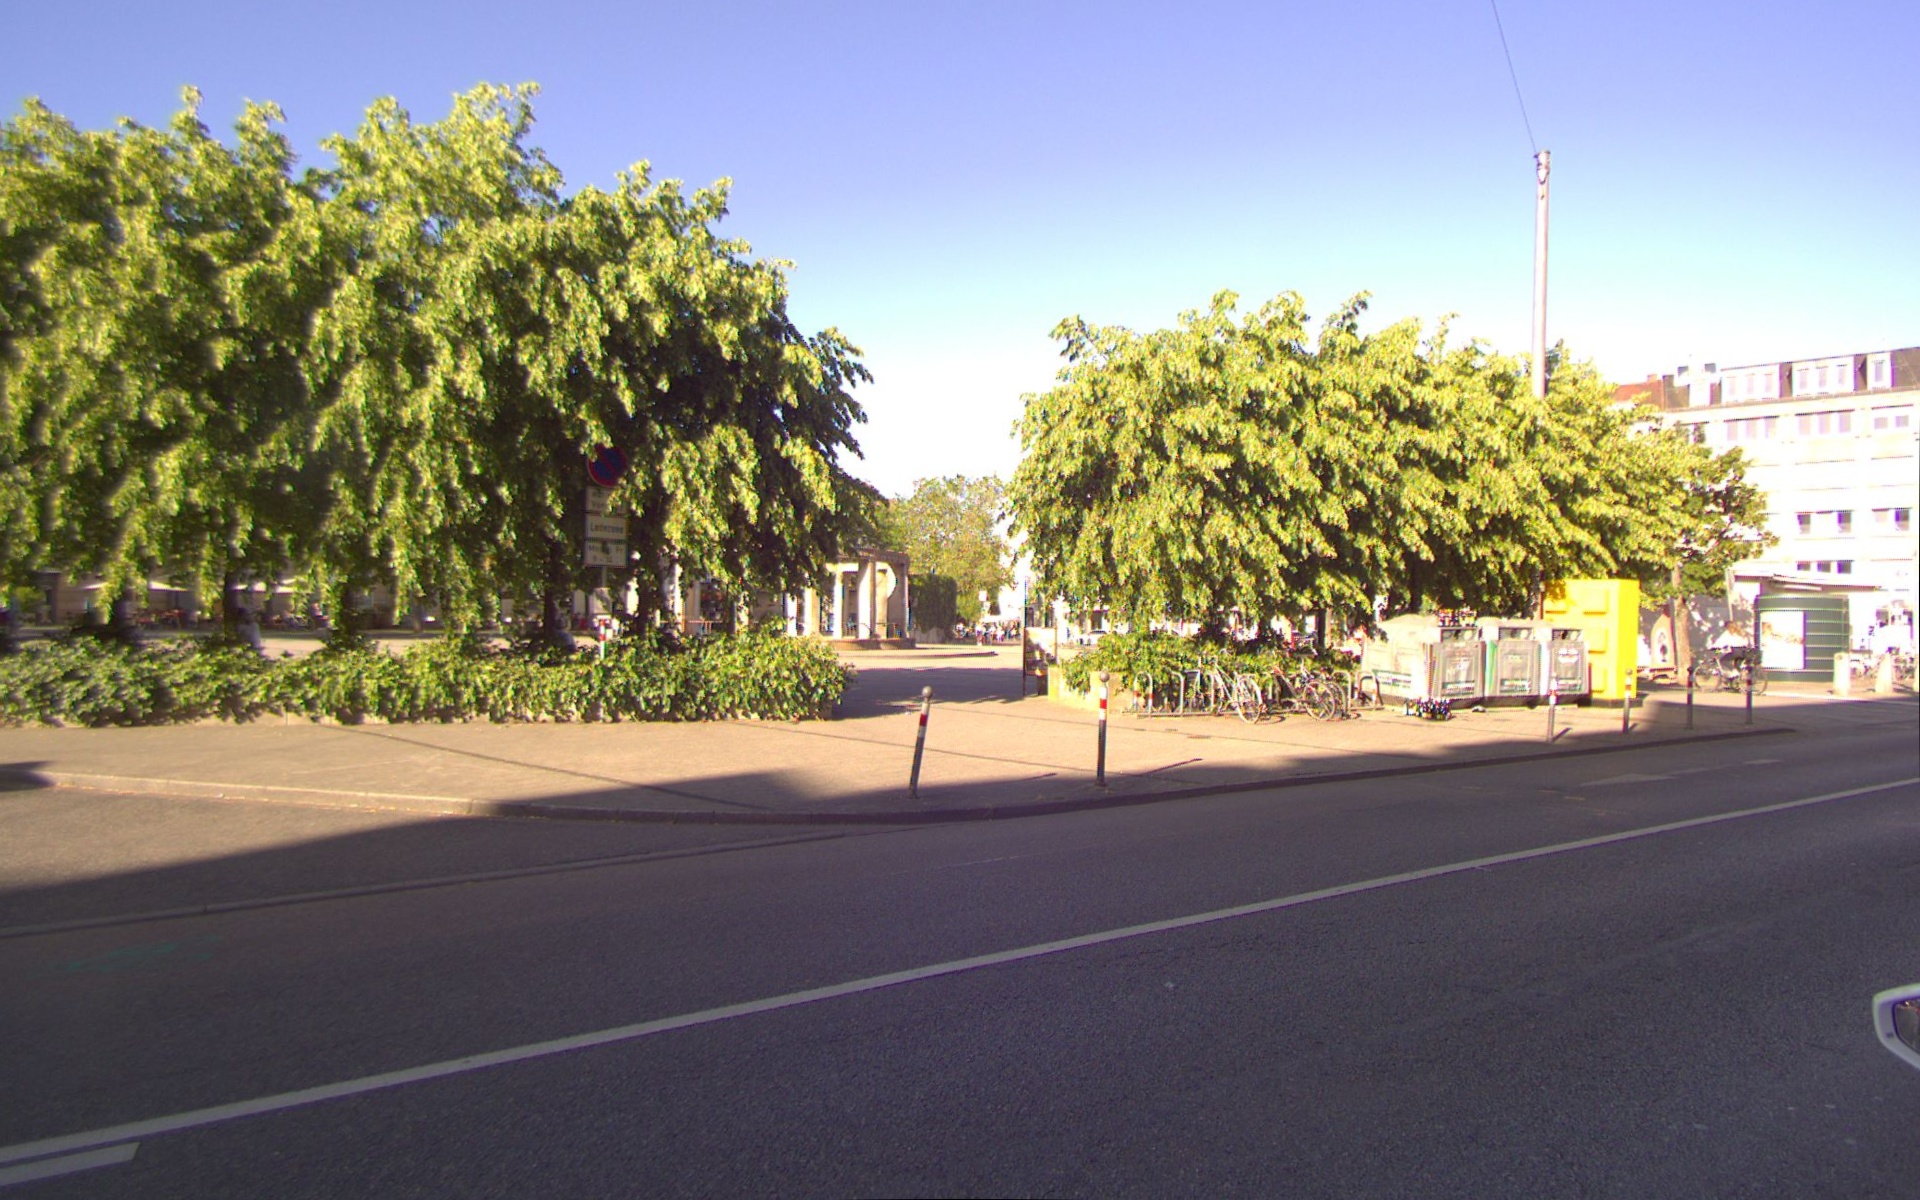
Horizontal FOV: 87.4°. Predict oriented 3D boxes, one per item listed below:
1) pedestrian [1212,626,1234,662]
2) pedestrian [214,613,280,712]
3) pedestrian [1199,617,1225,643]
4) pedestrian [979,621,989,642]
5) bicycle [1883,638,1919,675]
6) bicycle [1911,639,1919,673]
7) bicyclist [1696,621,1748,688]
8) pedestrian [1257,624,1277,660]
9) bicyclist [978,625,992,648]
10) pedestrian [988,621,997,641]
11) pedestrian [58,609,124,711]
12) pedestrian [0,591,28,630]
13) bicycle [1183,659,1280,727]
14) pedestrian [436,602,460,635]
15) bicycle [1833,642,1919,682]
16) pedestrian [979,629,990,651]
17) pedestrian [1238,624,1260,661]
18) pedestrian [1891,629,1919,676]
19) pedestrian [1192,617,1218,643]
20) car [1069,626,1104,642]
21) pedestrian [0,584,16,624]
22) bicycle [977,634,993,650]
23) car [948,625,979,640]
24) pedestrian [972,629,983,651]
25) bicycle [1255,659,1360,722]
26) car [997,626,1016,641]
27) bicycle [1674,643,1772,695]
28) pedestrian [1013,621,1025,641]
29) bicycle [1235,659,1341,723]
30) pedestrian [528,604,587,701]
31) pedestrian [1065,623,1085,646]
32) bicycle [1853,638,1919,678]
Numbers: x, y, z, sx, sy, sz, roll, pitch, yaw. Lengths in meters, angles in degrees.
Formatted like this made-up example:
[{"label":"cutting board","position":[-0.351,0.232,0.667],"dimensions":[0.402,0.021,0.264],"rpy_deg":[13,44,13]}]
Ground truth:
[{"label":"pedestrian","position":[11.848,1.974,45.161],"dimensions":[0.904,1.541,0.936],"rpy_deg":[2,0,15]},{"label":"pedestrian","position":[-10.857,0.936,15.301],"dimensions":[0.581,1.456,0.615],"rpy_deg":[2,0,33]},{"label":"pedestrian","position":[12.262,1.452,48.869],"dimensions":[0.885,1.230,0.864],"rpy_deg":[2,0,-15]},{"label":"pedestrian","position":[2.405,3.222,102.059],"dimensions":[0.836,2.040,0.855],"rpy_deg":[2,0,10]},{"label":"bicycle","position":[35.255,2.086,36.132],"dimensions":[0.932,1.287,2.859],"rpy_deg":[2,0,-32]},{"label":"bicycle","position":[37.239,2.157,37.276],"dimensions":[0.932,1.276,2.648],"rpy_deg":[2,0,-32]},{"label":"bicyclist","position":[19.277,1.367,25.419],"dimensions":[0.571,1.636,0.824],"rpy_deg":[1,0,-22]},{"label":"pedestrian","position":[13.449,1.844,44.069],"dimensions":[0.598,1.528,0.557],"rpy_deg":[2,0,-15]},{"label":"bicyclist","position":[1.910,2.737,75.989],"dimensions":[0.776,1.722,0.892],"rpy_deg":[2,0,-19]},{"label":"pedestrian","position":[3.442,3.271,105.755],"dimensions":[0.836,2.040,0.855],"rpy_deg":[2,0,10]},{"label":"pedestrian","position":[-12.865,0.873,14.884],"dimensions":[0.615,1.456,0.647],"rpy_deg":[2,0,-32]},{"label":"pedestrian","position":[-38.206,0.421,40.442],"dimensions":[0.680,1.550,0.684],"rpy_deg":[2,0,1]},{"label":"bicycle","position":[4.168,1.412,15.526],"dimensions":[0.464,0.897,1.558],"rpy_deg":[2,0,-29]},{"label":"pedestrian","position":[-24.322,0.886,47.696],"dimensions":[0.679,1.550,0.741],"rpy_deg":[2,0,12]},{"label":"bicycle","position":[31.214,2.066,33.764],"dimensions":[0.932,1.211,2.645],"rpy_deg":[2,0,-32]},{"label":"pedestrian","position":[1.791,2.939,73.756],"dimensions":[0.571,1.544,0.622],"rpy_deg":[2,0,-25]},{"label":"pedestrian","position":[12.733,1.865,44.238],"dimensions":[0.761,1.541,0.838],"rpy_deg":[2,0,6]},{"label":"pedestrian","position":[34.258,1.895,35.966],"dimensions":[1.089,1.633,1.250],"rpy_deg":[2,0,-44]},{"label":"pedestrian","position":[11.702,1.431,47.940],"dimensions":[0.855,1.230,0.933],"rpy_deg":[2,0,-15]},{"label":"car","position":[10.895,2.899,86.720],"dimensions":[2.711,1.283,1.239],"rpy_deg":[2,0,37]},{"label":"pedestrian","position":[-37.919,0.152,39.620],"dimensions":[0.680,1.545,0.684],"rpy_deg":[2,0,0]},{"label":"bicycle","position":[1.878,3.203,76.081],"dimensions":[0.595,1.116,1.982],"rpy_deg":[2,0,-16]},{"label":"car","position":[0.340,3.078,95.042],"dimensions":[2.711,1.283,1.239],"rpy_deg":[2,0,37]},{"label":"pedestrian","position":[1.259,2.922,73.519],"dimensions":[0.571,1.544,0.622],"rpy_deg":[2,0,-24]},{"label":"bicycle","position":[5.667,1.455,16.480],"dimensions":[0.465,0.870,1.654],"rpy_deg":[2,0,-35]},{"label":"car","position":[5.126,3.677,110.972],"dimensions":[1.522,1.550,4.131],"rpy_deg":[1,-1,-5]},{"label":"bicycle","position":[19.272,1.724,25.429],"dimensions":[0.567,1.174,1.950],"rpy_deg":[1,0,-22]},{"label":"pedestrian","position":[5.526,2.908,94.455],"dimensions":[0.891,1.845,0.952],"rpy_deg":[2,0,17]},{"label":"bicycle","position":[5.265,1.445,16.189],"dimensions":[0.465,0.870,1.659],"rpy_deg":[2,0,-35]},{"label":"pedestrian","position":[-6.604,0.847,16.487],"dimensions":[0.688,1.541,0.676],"rpy_deg":[2,0,-41]},{"label":"pedestrian","position":[9.688,2.929,84.475],"dimensions":[1.277,1.867,1.100],"rpy_deg":[2,0,28]},{"label":"bicycle","position":[33.137,2.042,35.066],"dimensions":[0.923,1.291,2.764],"rpy_deg":[2,0,-32]}]
